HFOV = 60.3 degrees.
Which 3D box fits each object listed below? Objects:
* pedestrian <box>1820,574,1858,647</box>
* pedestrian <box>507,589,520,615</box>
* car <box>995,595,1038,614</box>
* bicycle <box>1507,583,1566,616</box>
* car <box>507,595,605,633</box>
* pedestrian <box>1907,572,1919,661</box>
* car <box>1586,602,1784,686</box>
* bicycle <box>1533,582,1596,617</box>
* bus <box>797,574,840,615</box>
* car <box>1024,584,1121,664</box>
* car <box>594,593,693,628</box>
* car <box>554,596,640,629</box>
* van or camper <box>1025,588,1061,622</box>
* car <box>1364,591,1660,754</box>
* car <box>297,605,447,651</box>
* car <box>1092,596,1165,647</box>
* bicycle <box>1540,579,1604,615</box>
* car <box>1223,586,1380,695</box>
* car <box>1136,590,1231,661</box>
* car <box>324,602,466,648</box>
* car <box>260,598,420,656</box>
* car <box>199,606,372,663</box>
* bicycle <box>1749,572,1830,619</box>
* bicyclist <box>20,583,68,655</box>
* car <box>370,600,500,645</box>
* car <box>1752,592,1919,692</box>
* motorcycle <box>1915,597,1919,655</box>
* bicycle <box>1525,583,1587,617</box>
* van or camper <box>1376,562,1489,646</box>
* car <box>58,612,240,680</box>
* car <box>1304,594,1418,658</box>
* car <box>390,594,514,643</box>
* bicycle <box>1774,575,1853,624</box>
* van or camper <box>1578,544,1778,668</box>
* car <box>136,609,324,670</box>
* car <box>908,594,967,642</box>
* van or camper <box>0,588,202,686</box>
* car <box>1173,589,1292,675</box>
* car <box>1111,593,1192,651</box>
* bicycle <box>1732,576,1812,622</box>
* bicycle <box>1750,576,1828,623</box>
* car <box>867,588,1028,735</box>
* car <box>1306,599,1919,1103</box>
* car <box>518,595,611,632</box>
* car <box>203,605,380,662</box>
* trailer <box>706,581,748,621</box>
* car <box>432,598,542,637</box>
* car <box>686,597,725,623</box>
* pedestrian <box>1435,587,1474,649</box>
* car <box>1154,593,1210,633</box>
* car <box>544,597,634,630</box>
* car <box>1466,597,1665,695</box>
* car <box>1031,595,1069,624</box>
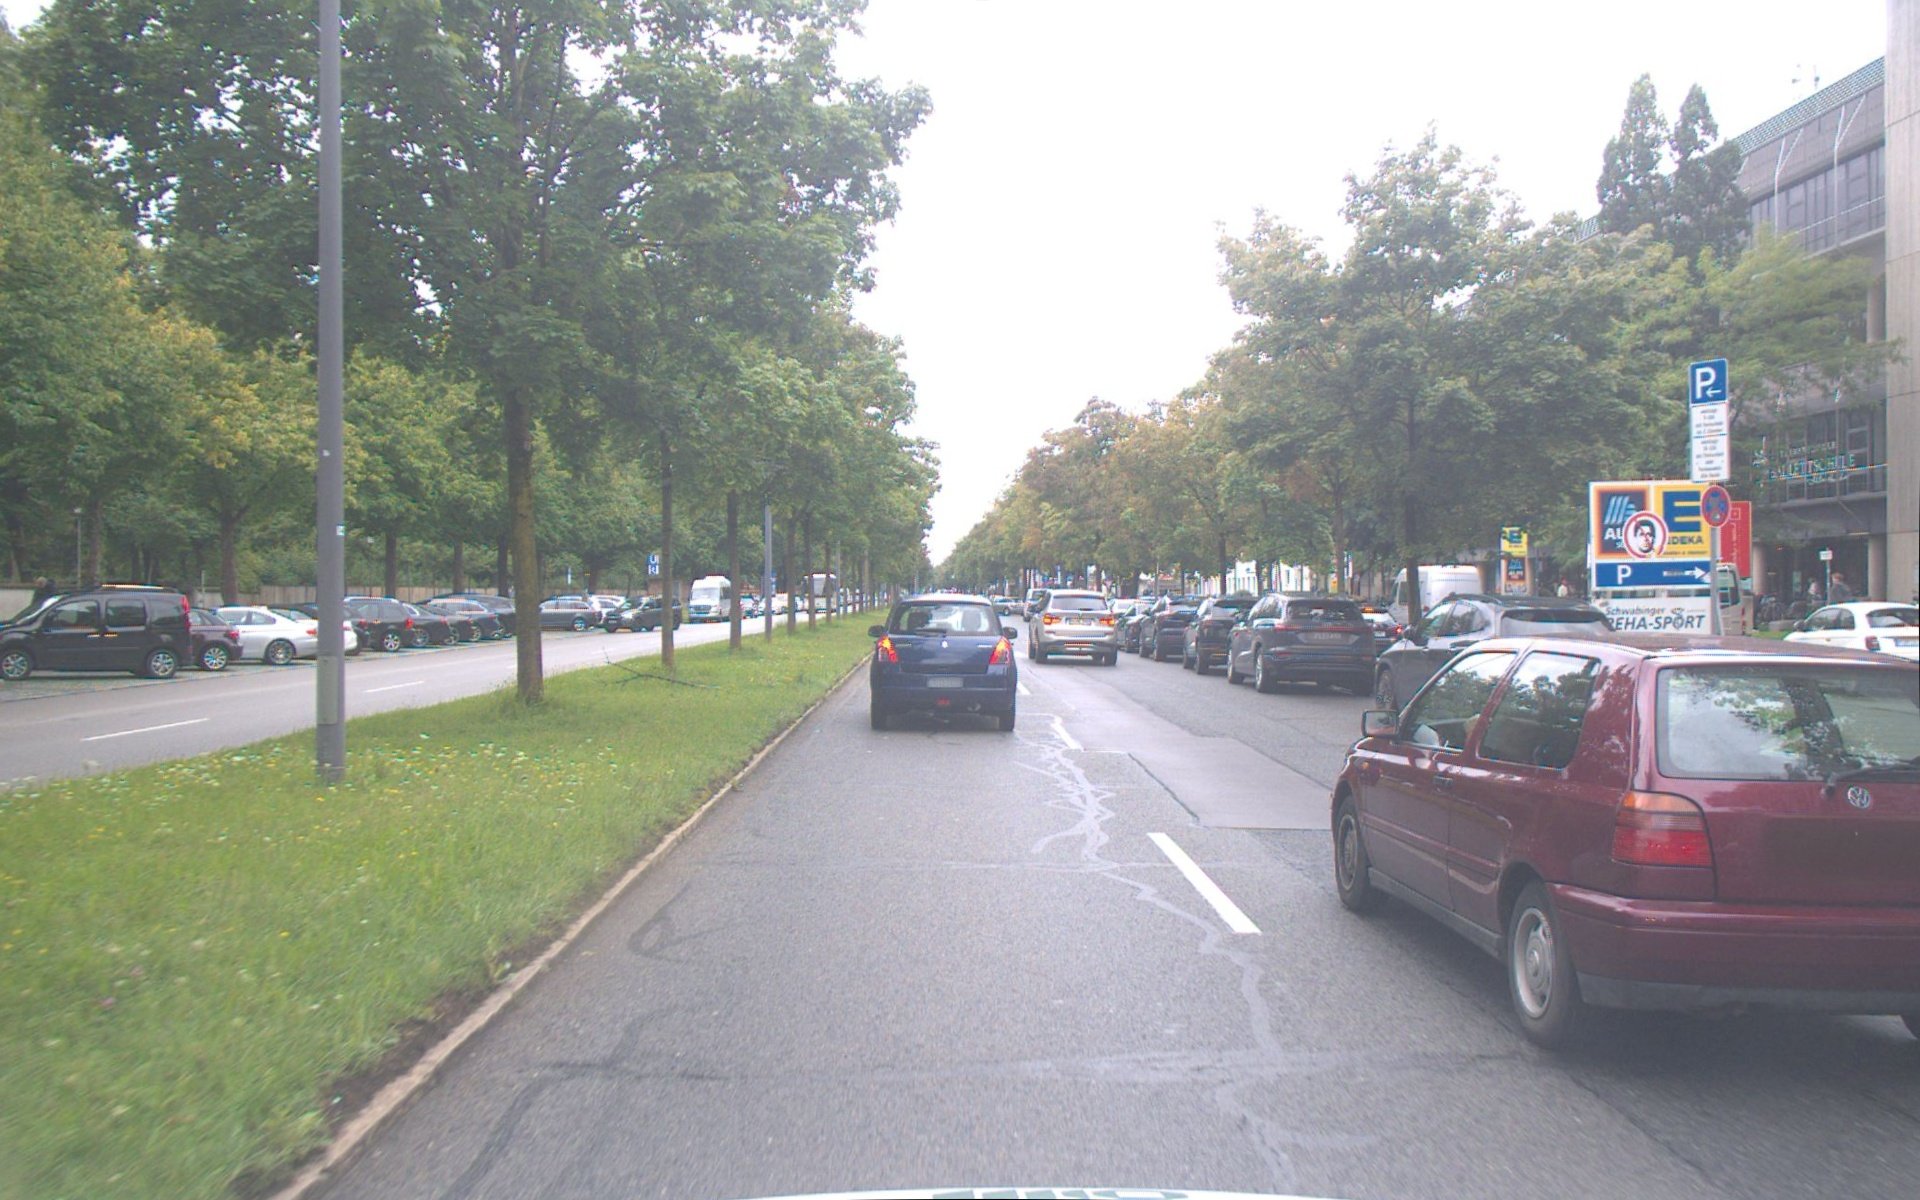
[{"bbox_3d":[21.642,0.245,40.719,0.563,1.782,0.732,0,0,4],"label":"pedestrian"},{"bbox_3d":[-28.312,0.143,104.833,0.671,1.640,0.685,0,0,-32],"label":"pedestrian"},{"bbox_3d":[4.355,0.343,128.034,1.825,1.472,4.069,0,0,-22],"label":"car"},{"bbox_3d":[27.263,-0.028,78.241,2.560,1.534,0.797,0,0,-7],"label":"bicycle"},{"bbox_3d":[-18.810,0.639,77.117,4.059,1.725,1.896,-1,0,-35],"label":"car"},{"bbox_3d":[19.357,0.325,32.959,0.563,1.782,0.732,0,0,4],"label":"pedestrian"},{"bbox_3d":[13.906,0.796,32.046,1.650,1.479,4.838,0,0,-1],"label":"car"},{"bbox_3d":[27.115,-0.016,74.224,2.560,1.534,0.797,0,0,-7],"label":"bicycle"},{"bbox_3d":[-12.515,-0.530,147.381,2.682,3.436,12.012,-2,0,0],"label":"bus"},{"bbox_3d":[2.565,0.520,38.527,1.813,1.773,4.096,0,0,-2],"label":"car"},{"bbox_3d":[-14.723,0.489,77.062,4.149,1.569,1.891,-1,0,-41],"label":"car"},{"bbox_3d":[-19.132,0.622,87.171,4.059,1.681,1.896,-1,0,-35],"label":"car"},{"bbox_3d":[4.916,0.280,98.215,1.905,2.009,4.306,0,0,0],"label":"van or camper"},{"bbox_3d":[6.043,0.714,18.686,1.726,1.617,4.451,0,0,-2],"label":"car"},{"bbox_3d":[-18.633,0.869,52.472,4.152,1.345,1.896,-1,0,-35],"label":"car"},{"bbox_3d":[5.357,0.658,53.068,1.672,1.479,4.510,2,0,-2],"label":"car"},{"bbox_3d":[27.104,-0.139,73.284,2.560,1.534,0.797,0,0,-7],"label":"bicycle"},{"bbox_3d":[5.829,0.634,28.763,1.725,1.730,4.819,0,0,0],"label":"car"},{"bbox_3d":[5.547,0.594,41.514,1.728,1.680,4.423,0,0,-1],"label":"car"},{"bbox_3d":[-18.886,0.818,55.325,4.148,1.434,1.896,-1,0,-35],"label":"car"},{"bbox_3d":[-18.377,0.770,49.076,4.069,1.625,1.891,-1,0,-40],"label":"car"},{"bbox_3d":[-17.795,0.871,43.695,3.999,1.405,1.653,0,0,-37],"label":"car"},{"bbox_3d":[27.922,-0.149,55.696,2.566,1.534,0.795,0,0,-15],"label":"bicycle"},{"bbox_3d":[-23.050,0.465,41.618,0.690,1.777,0.922,0,0,-1],"label":"bicyclist"},{"bbox_3d":[-18.624,0.774,58.695,4.059,1.495,1.896,-1,0,-35],"label":"car"},{"bbox_3d":[16.215,0.698,29.810,1.953,1.680,4.000,0,0,-1],"label":"car"},{"bbox_3d":[20.957,0.564,34.550,0.682,1.313,2.066,-5,0,-1],"label":"motorcycle"},{"bbox_3d":[27.058,-0.011,75.098,2.560,1.534,0.797,0,0,-7],"label":"bicycle"},{"bbox_3d":[15.478,0.114,54.504,1.983,2.602,5.956,0,0,0],"label":"van or camper"},{"bbox_3d":[-18.024,0.989,36.776,3.533,1.378,1.735,0,0,-31],"label":"car"},{"bbox_3d":[9.864,0.611,40.941,1.712,1.504,4.007,0,0,-2],"label":"car"},{"bbox_3d":[-18.732,0.665,61.030,4.059,1.709,1.896,-1,0,-35],"label":"car"},{"bbox_3d":[27.617,-0.018,53.505,2.574,1.534,0.793,0,0,-23],"label":"bicycle"},{"bbox_3d":[16.259,0.110,37.888,1.953,2.602,5.956,0,0,0],"label":"van or camper"},{"bbox_3d":[-17.813,0.934,40.411,3.955,1.378,1.828,0,0,-36],"label":"car"},{"bbox_3d":[-0.765,0.548,53.389,1.813,1.472,4.096,0,0,-2],"label":"car"},{"bbox_3d":[-17.850,0.697,33.666,4.090,1.887,1.822,0,0,-42],"label":"van or camper"},{"bbox_3d":[5.666,0.621,34.832,1.687,1.680,4.388,0,0,-2],"label":"car"},{"bbox_3d":[5.413,0.593,47.272,1.728,1.573,4.423,0,0,-1],"label":"car"},{"bbox_3d":[27.778,-0.045,56.582,2.566,1.534,0.795,0,0,-15],"label":"bicycle"},{"bbox_3d":[27.262,-0.020,54.378,2.574,1.534,0.793,0,0,-23],"label":"bicycle"},{"bbox_3d":[-0.216,0.659,19.957,1.753,1.583,3.998,0,0,-2],"label":"car"},{"bbox_3d":[2.687,0.740,6.891,1.589,1.479,3.949,0,0,-1],"label":"car"},{"bbox_3d":[-19.247,0.620,80.509,4.059,1.725,1.896,-1,0,-35],"label":"car"},{"bbox_3d":[-18.557,0.893,45.999,4.205,1.447,1.890,-1,0,-42],"label":"car"},{"bbox_3d":[-15.671,0.039,111.305,2.063,2.585,5.576,0,0,0],"label":"trailer"},{"bbox_3d":[-19.453,0.695,68.041,4.054,1.527,1.899,-1,0,-32],"label":"car"},{"bbox_3d":[-15.635,0.598,101.695,1.874,1.569,4.186,0,0,-2],"label":"car"},{"bbox_3d":[15.207,0.551,50.878,0.857,1.883,0.903,1,0,-2],"label":"pedestrian"},{"bbox_3d":[9.300,0.519,69.674,1.650,1.661,4.779,0,0,-1],"label":"car"},{"bbox_3d":[-18.875,0.663,84.151,4.059,1.612,1.896,-1,0,-35],"label":"car"},{"bbox_3d":[10.256,0.730,28.327,1.728,1.514,3.997,2,0,-3],"label":"car"},{"bbox_3d":[4.947,0.495,91.442,1.651,1.581,4.303,0,0,-3],"label":"car"}]
